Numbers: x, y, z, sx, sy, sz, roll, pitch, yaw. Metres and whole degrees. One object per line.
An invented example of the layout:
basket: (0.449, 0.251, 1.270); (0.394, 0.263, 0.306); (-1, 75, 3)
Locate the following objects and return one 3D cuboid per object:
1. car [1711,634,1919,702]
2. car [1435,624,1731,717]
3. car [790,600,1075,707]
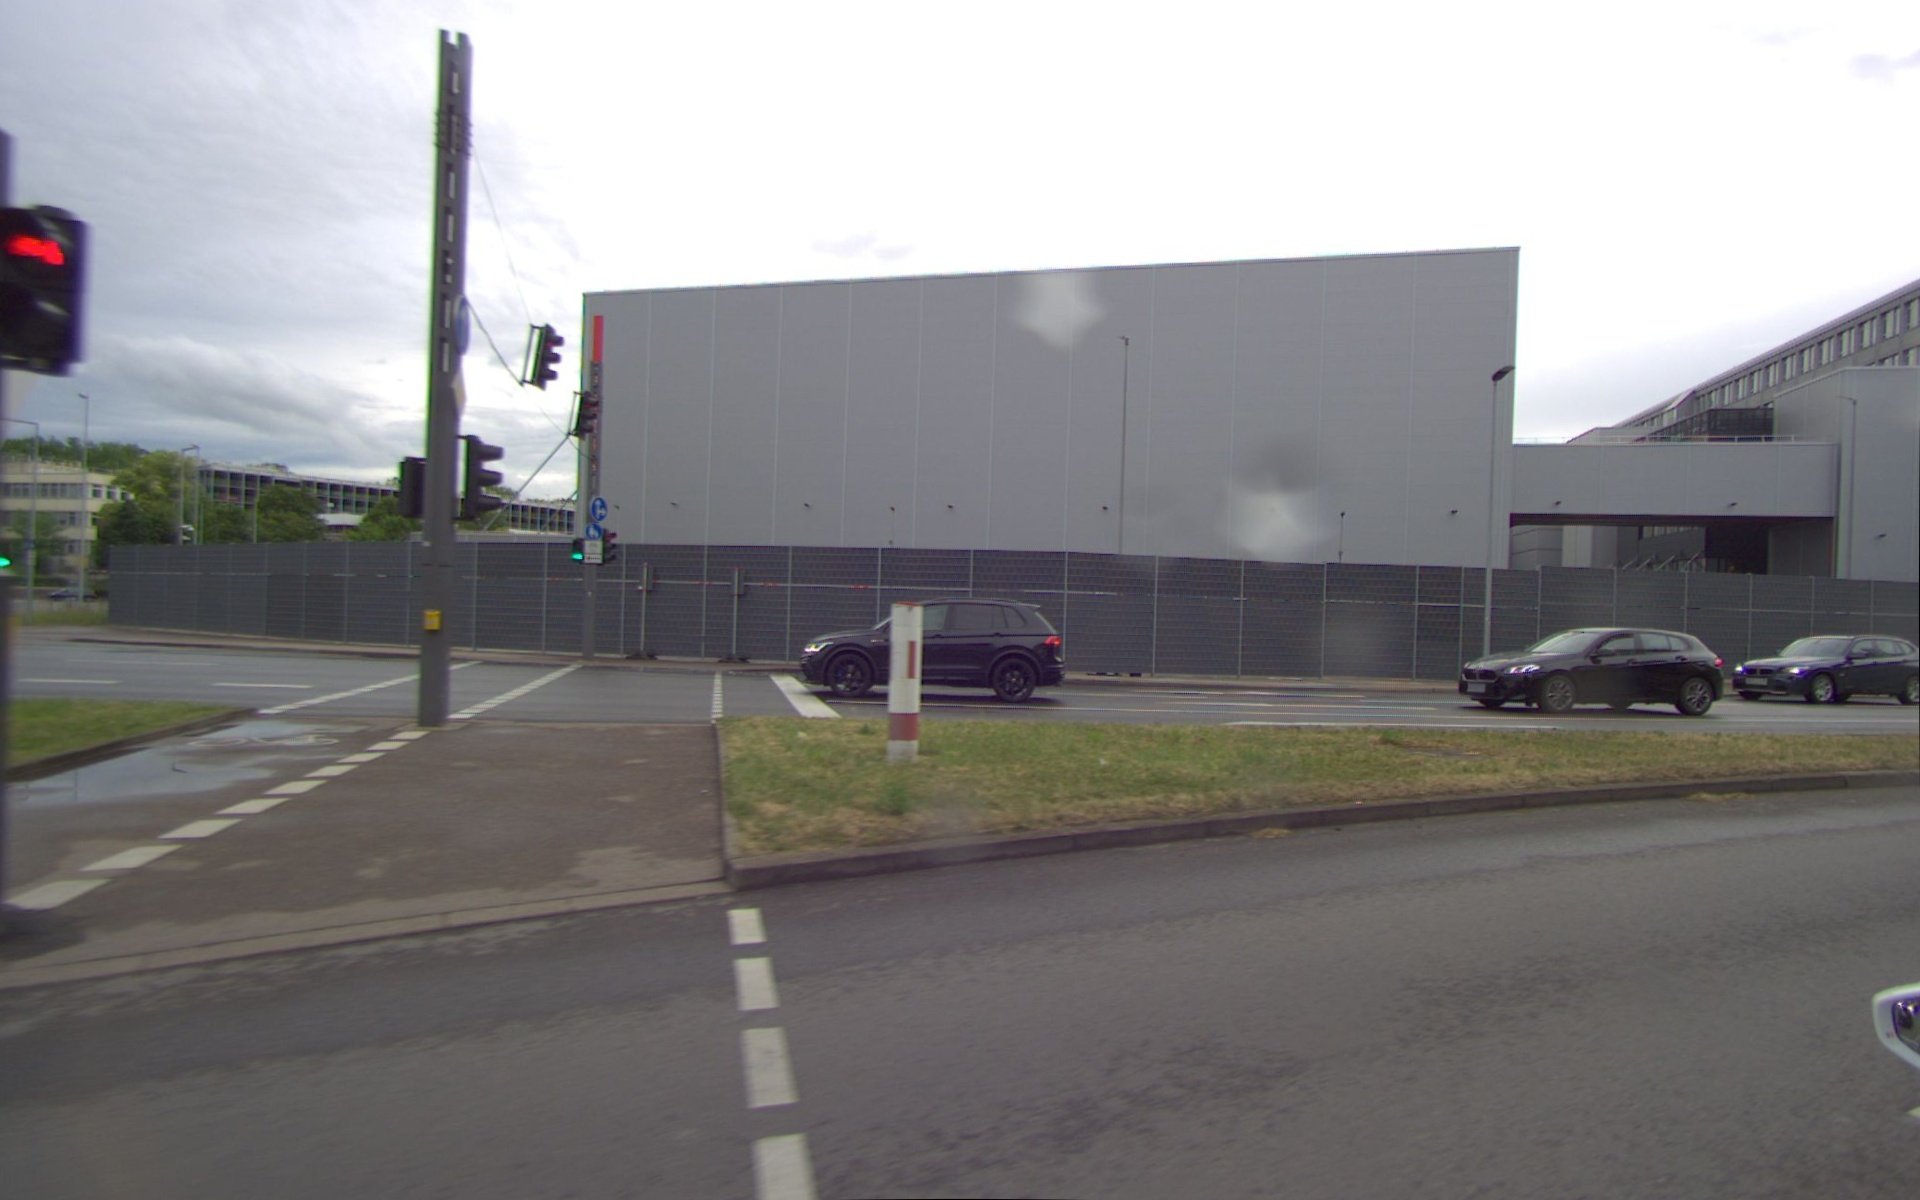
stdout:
car: (20.053, 1.566, 23.259); (4.481, 1.473, 1.785); (1, -2, -12)
car: (10.827, 1.215, 17.576); (4.317, 1.459, 1.785); (1, 0, -11)
car: (-0.436, 0.854, 16.802); (4.476, 1.609, 1.788); (1, 0, -1)
